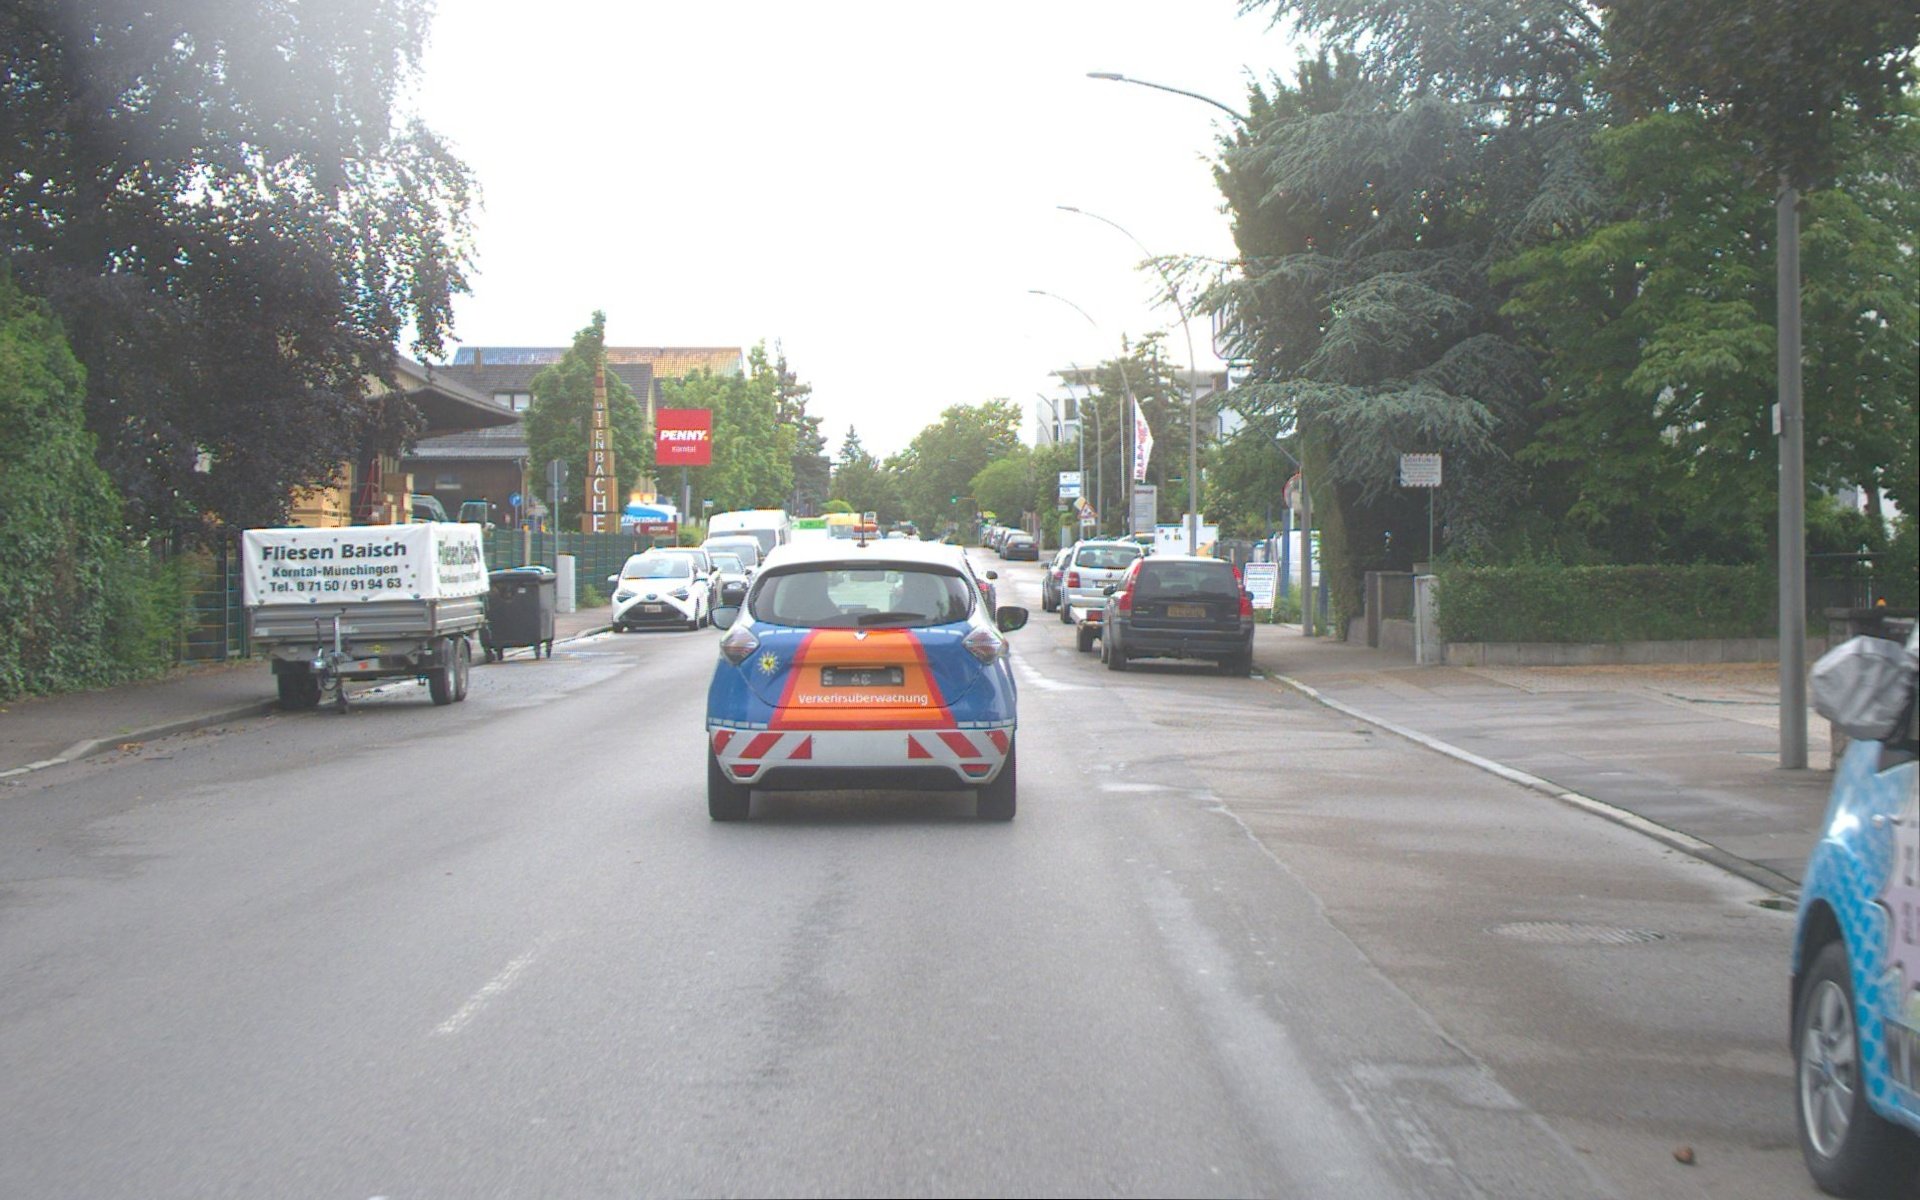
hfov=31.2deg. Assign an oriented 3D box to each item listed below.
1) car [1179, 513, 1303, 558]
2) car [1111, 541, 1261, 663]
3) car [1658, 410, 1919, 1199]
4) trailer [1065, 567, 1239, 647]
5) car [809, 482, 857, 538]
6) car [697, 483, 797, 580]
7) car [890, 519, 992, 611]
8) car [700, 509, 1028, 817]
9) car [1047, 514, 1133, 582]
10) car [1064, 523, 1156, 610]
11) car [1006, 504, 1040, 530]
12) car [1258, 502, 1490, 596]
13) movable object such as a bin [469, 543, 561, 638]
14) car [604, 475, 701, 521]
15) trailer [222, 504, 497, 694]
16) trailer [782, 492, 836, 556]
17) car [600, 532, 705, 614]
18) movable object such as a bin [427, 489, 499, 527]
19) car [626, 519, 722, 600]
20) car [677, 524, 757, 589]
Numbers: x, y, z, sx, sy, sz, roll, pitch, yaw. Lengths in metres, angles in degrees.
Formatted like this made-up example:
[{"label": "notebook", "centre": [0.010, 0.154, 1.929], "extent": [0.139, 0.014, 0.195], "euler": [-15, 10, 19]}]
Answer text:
[{"label": "car", "centre": [9.381, -2.170, 114.975], "extent": [3.987, 1.425, 1.631], "euler": [1, 1, -1]}, {"label": "car", "centre": [2.849, -0.013, 44.143], "extent": [1.740, 1.428, 4.648], "euler": [2, 1, 2]}, {"label": "car", "centre": [2.900, 0.540, 7.319], "extent": [1.731, 1.822, 5.553], "euler": [3, 1, 1]}, {"label": "trailer", "centre": [2.741, 0.061, 50.602], "extent": [2.174, 0.894, 6.637], "euler": [2, 2, 0]}, {"label": "car", "centre": [-5.880, -4.168, 159.737], "extent": [2.124, 2.529, 6.023], "euler": [1, 2, -2]}, {"label": "car", "centre": [-5.669, -1.856, 92.202], "extent": [2.158, 2.418, 6.460], "euler": [-3, 1, 0]}, {"label": "car", "centre": [-0.364, -0.638, 60.444], "extent": [1.650, 1.516, 4.001], "euler": [1, 1, -2]}, {"label": "car", "centre": [-0.534, 0.299, 19.998], "extent": [1.731, 1.625, 3.495], "euler": [0, 1, -1]}, {"label": "car", "centre": [2.944, -1.197, 78.469], "extent": [1.738, 1.461, 4.546], "euler": [2, 1, 0]}, {"label": "car", "centre": [2.965, -0.688, 68.511], "extent": [1.739, 1.616, 4.373], "euler": [2, 1, 2]}, {"label": "car", "centre": [3.314, -4.375, 181.797], "extent": [1.589, 1.336, 4.093], "euler": [1, 1, -2]}, {"label": "car", "centre": [8.890, -1.100, 74.096], "extent": [4.731, 1.880, 2.000], "euler": [2, 1, 0]}, {"label": "movable object such as a bin", "centre": [-6.370, -0.147, 49.268], "extent": [1.100, 1.306, 1.425], "euler": [2, 1, 0]}, {"label": "car", "centre": [-14.354, -4.757, 160.674], "extent": [4.306, 2.007, 2.063], "euler": [2, 1, 0]}, {"label": "trailer", "centre": [-5.972, -0.071, 34.693], "extent": [1.929, 1.759, 4.548], "euler": [1, 1, 0]}, {"label": "trailer", "centre": [-5.667, -2.900, 129.610], "extent": [1.812, 2.306, 4.731], "euler": [-2, 2, -1]}, {"label": "car", "centre": [-5.850, -0.536, 65.686], "extent": [1.616, 1.504, 3.660], "euler": [-1, 1, 0]}, {"label": "movable object such as a bin", "centre": [-24.543, -4.533, 169.894], "extent": [3.421, 1.753, 2.001], "euler": [1, 1, -6]}, {"label": "car", "centre": [-5.849, -0.847, 70.714], "extent": [1.661, 1.578, 3.917], "euler": [-2, 1, -1]}, {"label": "car", "centre": [-5.626, -1.027, 79.983], "extent": [1.661, 1.443, 4.318], "euler": [-1, 1, -2]}]
